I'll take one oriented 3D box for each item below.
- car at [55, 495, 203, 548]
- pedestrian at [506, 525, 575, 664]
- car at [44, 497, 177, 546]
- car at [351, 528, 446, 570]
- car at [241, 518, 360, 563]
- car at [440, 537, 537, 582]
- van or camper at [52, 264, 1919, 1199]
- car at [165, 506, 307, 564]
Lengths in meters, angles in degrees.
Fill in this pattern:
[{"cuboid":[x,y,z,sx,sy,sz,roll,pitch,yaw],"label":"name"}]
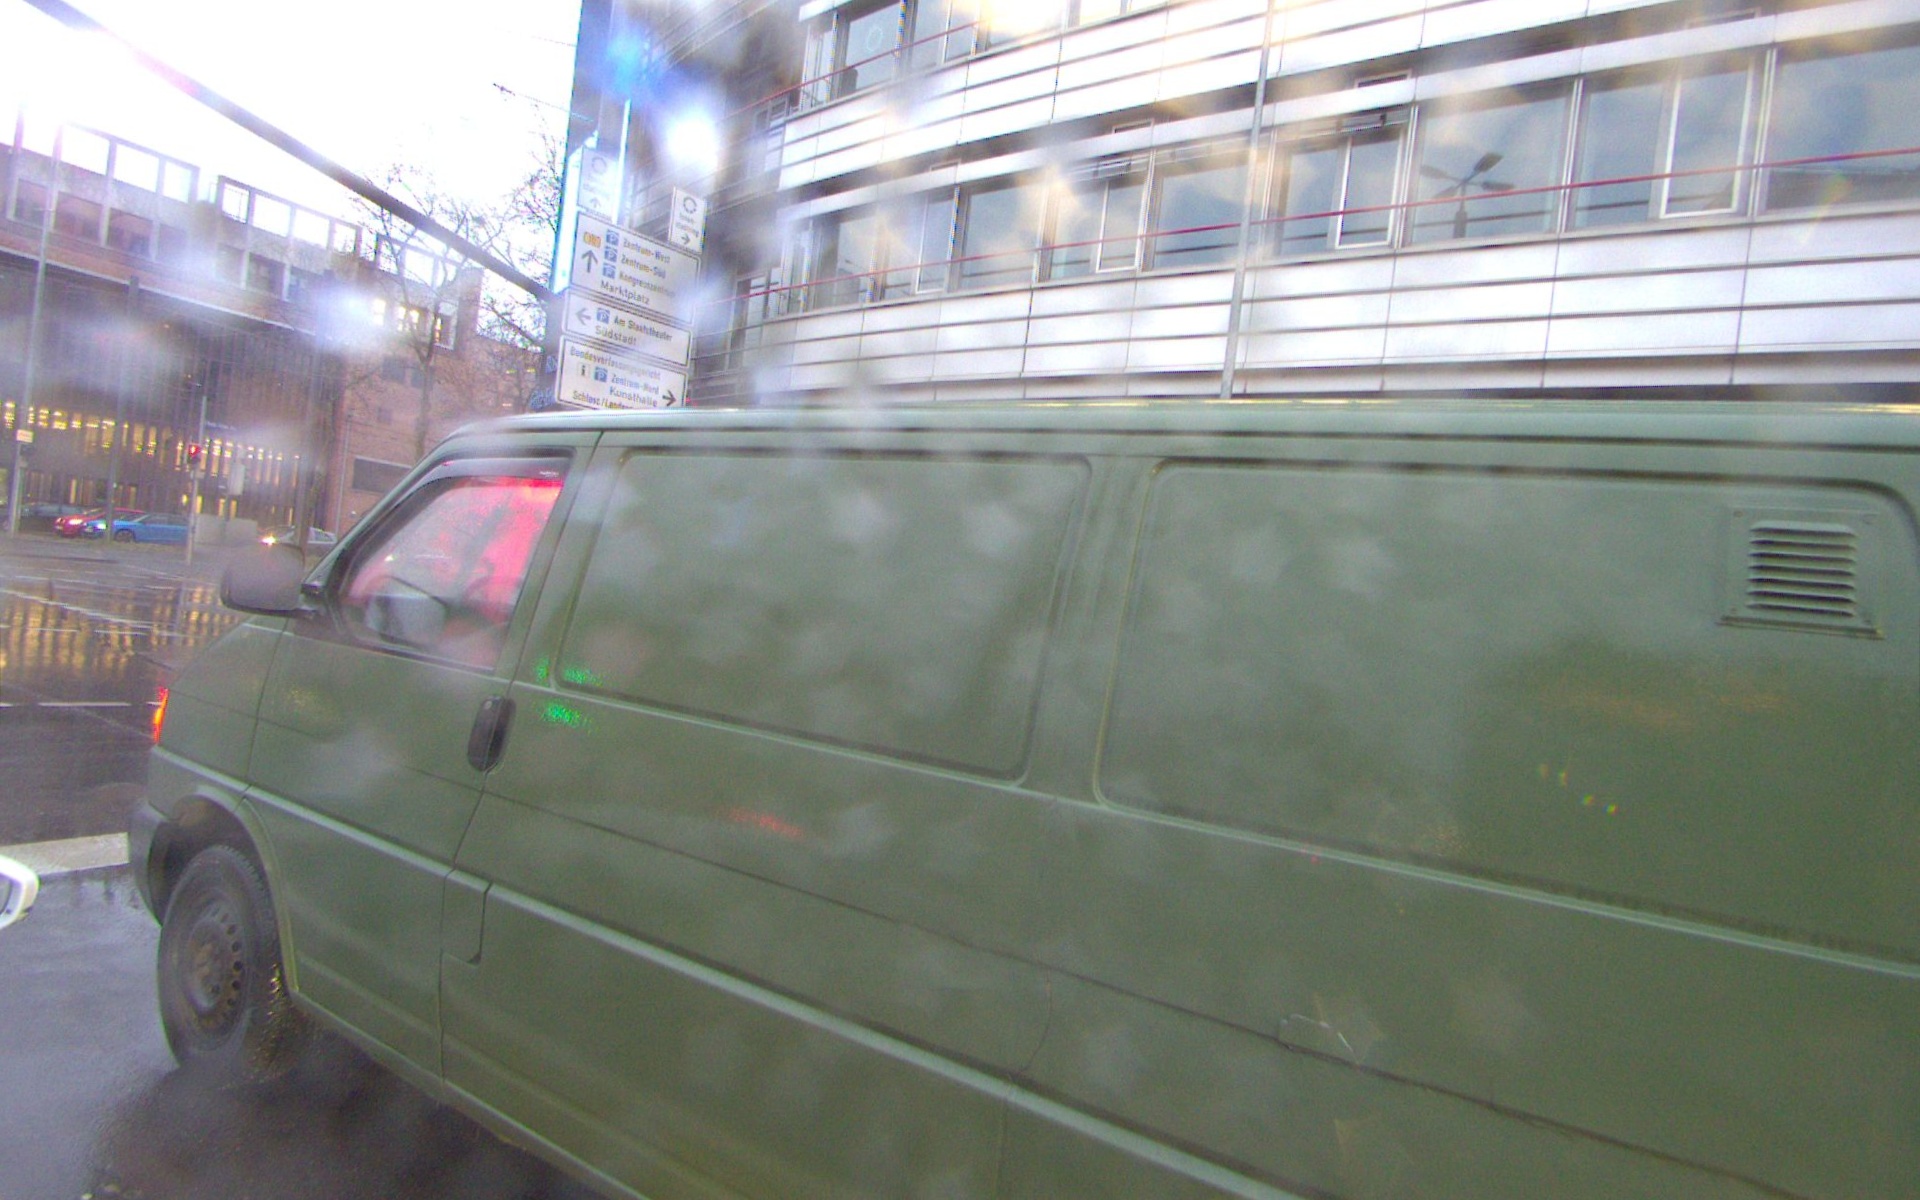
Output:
[{"cuboid":[-32.433,-3.039,39.386,1.814,1.278,3.997,11,1,26],"label":"car"},{"cuboid":[-6.953,-0.085,16.674,0.609,2.210,0.576,6,0,26],"label":"pedestrian"},{"cuboid":[-35.475,-3.256,42.104,1.814,1.278,3.729,11,1,26],"label":"car"},{"cuboid":[-30.161,-2.714,54.134,1.814,1.523,3.996,11,1,26],"label":"car"},{"cuboid":[-29.629,-2.669,45.308,1.814,1.304,3.997,11,1,26],"label":"car"},{"cuboid":[-23.556,-1.995,50.411,1.814,1.621,3.996,11,1,26],"label":"car"},{"cuboid":[-0.324,0.551,2.632,4.345,1.929,1.760,7,-1,32],"label":"van or camper"},{"cuboid":[-28.296,-2.516,39.445,1.814,1.523,3.996,11,1,26],"label":"car"}]
